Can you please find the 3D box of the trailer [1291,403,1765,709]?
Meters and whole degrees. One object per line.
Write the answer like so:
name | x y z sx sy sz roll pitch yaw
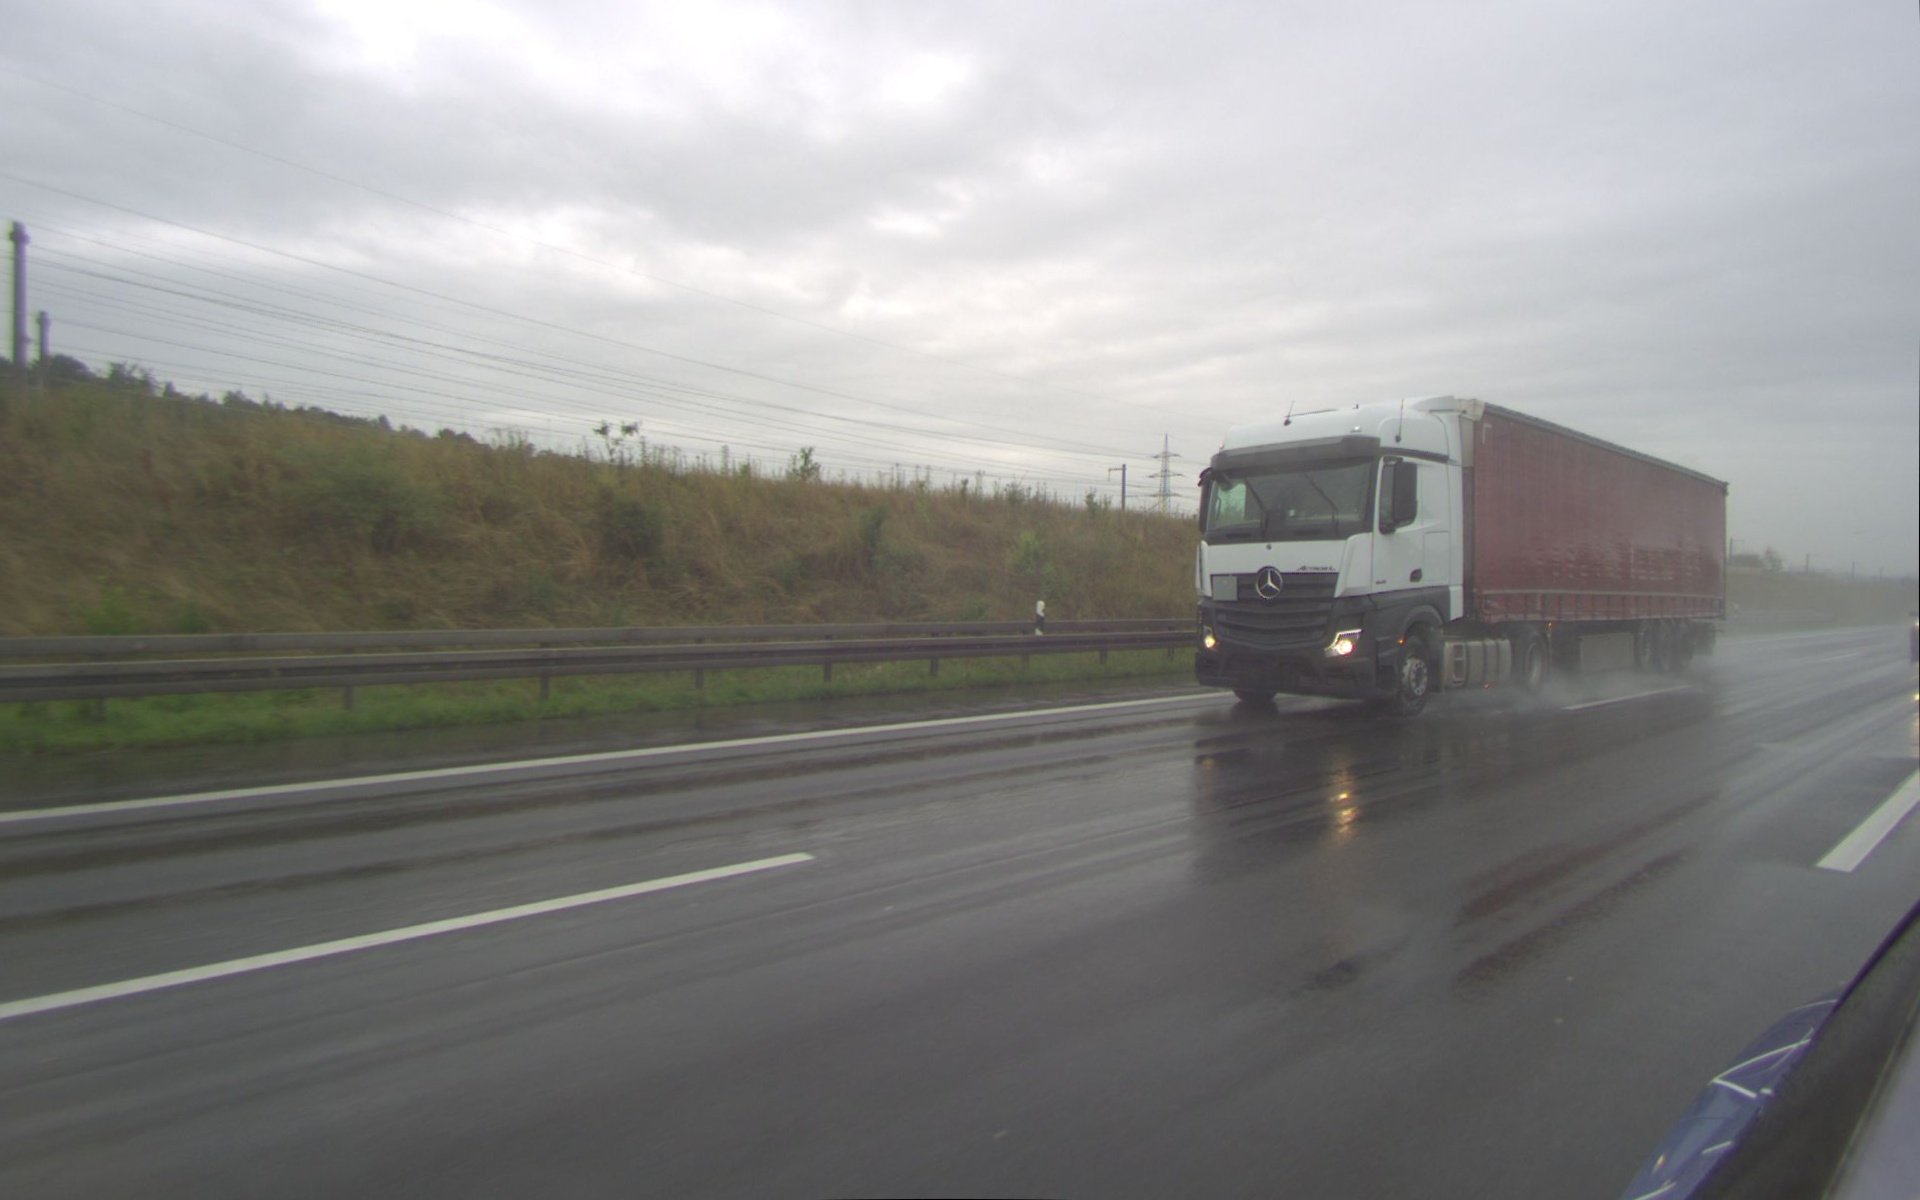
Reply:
trailer | 11.648 -0.579 18.916 16.256 3.813 2.484 0 0 -41

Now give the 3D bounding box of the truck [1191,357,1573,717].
truck | 6.046 -0.705 14.016 6.090 3.938 2.456 0 0 -41
